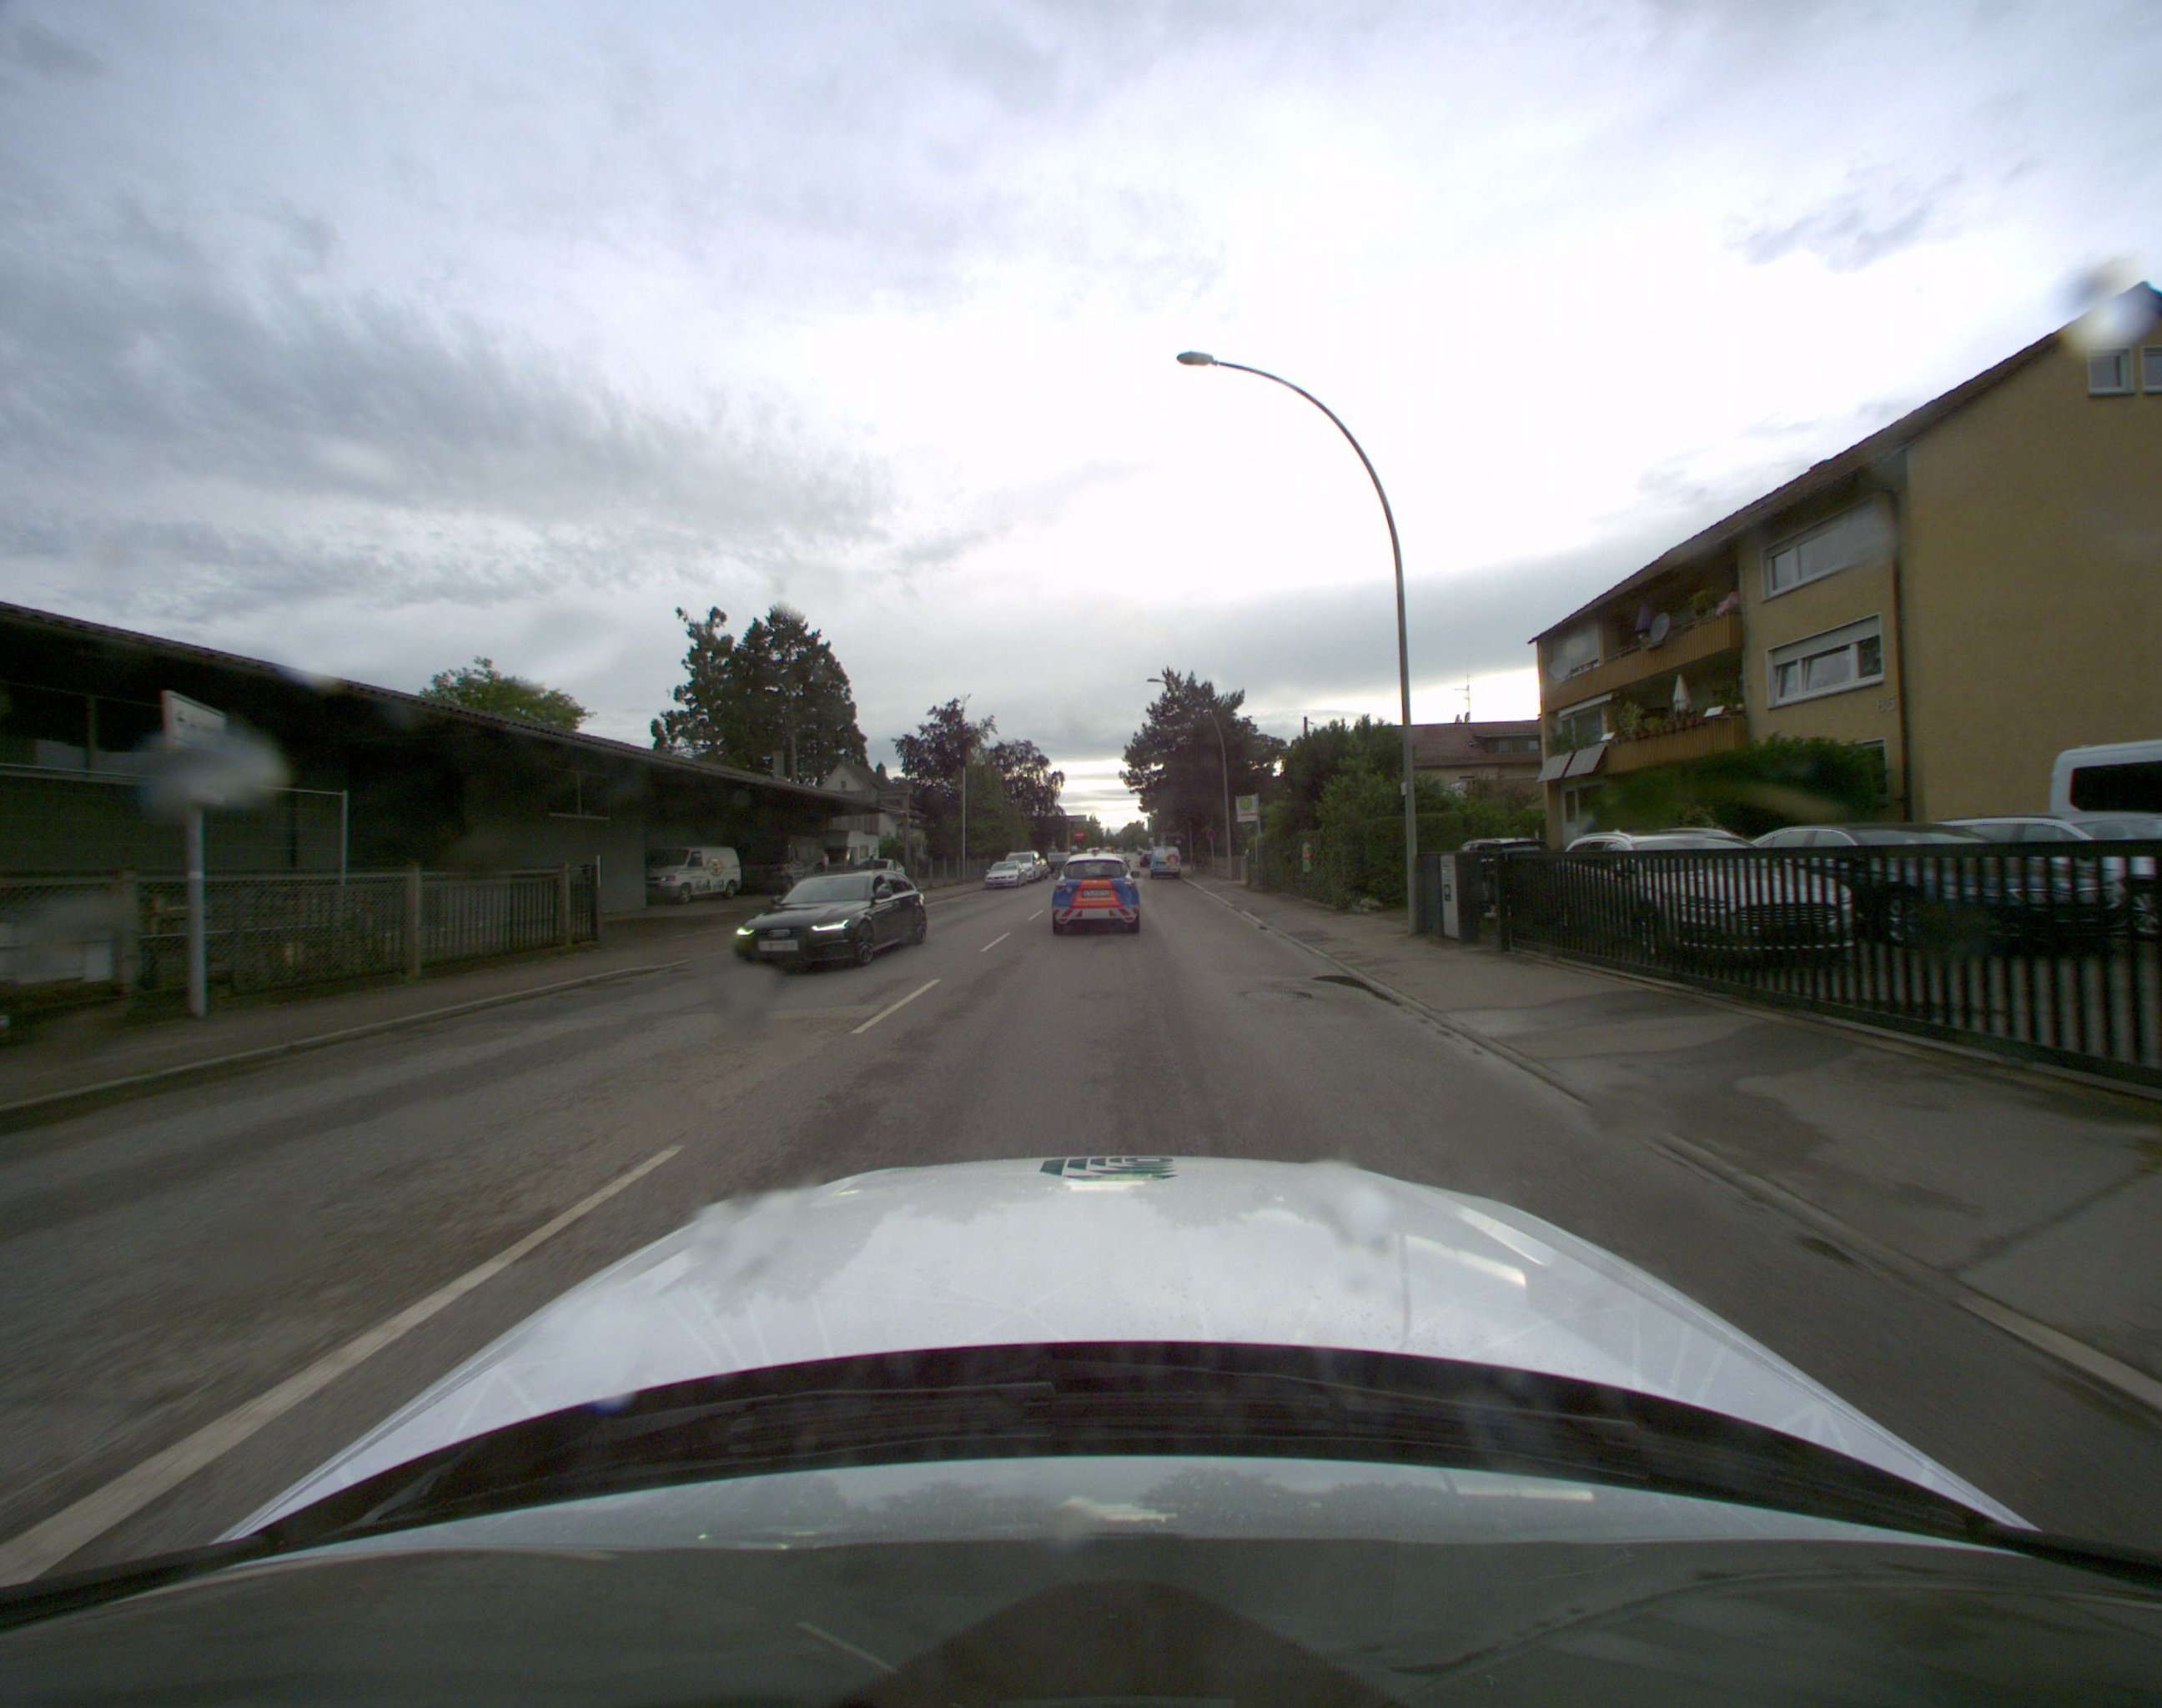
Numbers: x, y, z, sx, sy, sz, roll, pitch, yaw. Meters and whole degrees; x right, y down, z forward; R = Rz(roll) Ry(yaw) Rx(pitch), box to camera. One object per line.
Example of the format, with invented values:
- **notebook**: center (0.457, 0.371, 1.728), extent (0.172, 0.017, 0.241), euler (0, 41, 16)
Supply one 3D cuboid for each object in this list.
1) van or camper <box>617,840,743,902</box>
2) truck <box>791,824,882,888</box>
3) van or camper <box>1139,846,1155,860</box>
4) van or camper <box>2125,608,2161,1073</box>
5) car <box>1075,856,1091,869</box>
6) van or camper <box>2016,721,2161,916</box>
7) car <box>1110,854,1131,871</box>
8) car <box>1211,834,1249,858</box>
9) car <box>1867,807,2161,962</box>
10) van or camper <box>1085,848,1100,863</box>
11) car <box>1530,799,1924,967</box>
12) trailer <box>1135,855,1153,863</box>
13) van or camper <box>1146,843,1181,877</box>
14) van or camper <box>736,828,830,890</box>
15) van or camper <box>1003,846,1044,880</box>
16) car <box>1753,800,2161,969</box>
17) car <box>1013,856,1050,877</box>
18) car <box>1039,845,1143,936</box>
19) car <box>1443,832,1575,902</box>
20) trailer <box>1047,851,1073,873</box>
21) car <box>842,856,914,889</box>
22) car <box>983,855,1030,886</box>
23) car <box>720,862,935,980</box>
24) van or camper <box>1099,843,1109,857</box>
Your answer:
- **van or camper**: center (-13.495, 0.545, 27.770), extent (1.986, 1.909, 4.473), euler (0, 0, 1)
- **truck**: center (-11.954, 0.126, 40.340), extent (2.384, 2.927, 5.962), euler (0, -1, 3)
- **van or camper**: center (8.931, -0.151, 110.008), extent (1.986, 1.784, 4.002), euler (-2, 0, 2)
- **van or camper**: center (8.658, -0.137, 3.257), extent (5.879, 2.486, 2.133), euler (-1, -2, 3)
- **car**: center (0.305, 1.112, 107.809), extent (1.986, 1.596, 4.001), euler (0, -2, 2)
- **van or camper**: center (15.786, -0.552, 10.044), extent (2.047, 2.680, 6.032), euler (-2, -2, 8)
- **car**: center (4.208, 0.887, 86.687), extent (1.984, 1.420, 4.007), euler (-4, 2, 5)
- **car**: center (10.100, -0.519, 55.422), extent (1.985, 1.486, 4.003), euler (-2, 0, 2)
- **car**: center (13.067, 0.394, 10.500), extent (2.073, 1.651, 4.837), euler (0, -2, 14)
- **van or camper**: center (1.916, 0.207, 131.869), extent (2.153, 2.353, 4.336), euler (-2, 0, 2)
- **car**: center (7.862, 0.364, 10.766), extent (2.106, 1.651, 5.255), euler (0, -2, 14)
- **trailer**: center (6.951, 0.515, 90.086), extent (1.931, 0.754, 2.861), euler (-2, 0, 2)
- **van or camper**: center (4.823, 0.341, 48.108), extent (1.747, 1.883, 4.002), euler (-1, 0, 2)
- **van or camper**: center (-12.522, 0.272, 34.630), extent (1.852, 2.438, 5.235), euler (1, -2, 2)
- **van or camper**: center (-3.461, 0.599, 49.766), extent (1.882, 2.014, 5.100), euler (0, -2, 3)
- **car**: center (10.571, 0.363, 10.094), extent (1.870, 1.651, 4.113), euler (0, -2, 14)
- **car**: center (-3.331, 0.846, 55.400), extent (1.985, 1.288, 4.004), euler (-2, 0, 4)
- **car**: center (0.235, 0.678, 17.173), extent (1.882, 1.632, 4.001), euler (-1, 0, 1)
- **car**: center (10.372, 0.341, 20.051), extent (1.652, 1.547, 4.009), euler (0, -2, 8)
- **trailer**: center (-1.940, 0.767, 76.846), extent (2.212, 2.014, 4.437), euler (0, -2, 2)
- **car**: center (-9.476, 0.833, 38.385), extent (1.928, 1.444, 4.786), euler (-1, -1, 4)
- **car**: center (-3.919, 0.893, 43.292), extent (1.735, 1.480, 4.188), euler (-4, -2, 4)
- **car**: center (-3.947, 0.961, 13.614), extent (1.734, 1.451, 4.549), euler (-4, 0, 5)
- **van or camper**: center (4.941, -0.776, 171.826), extent (1.986, 2.775, 5.444), euler (-2, 0, 2)
